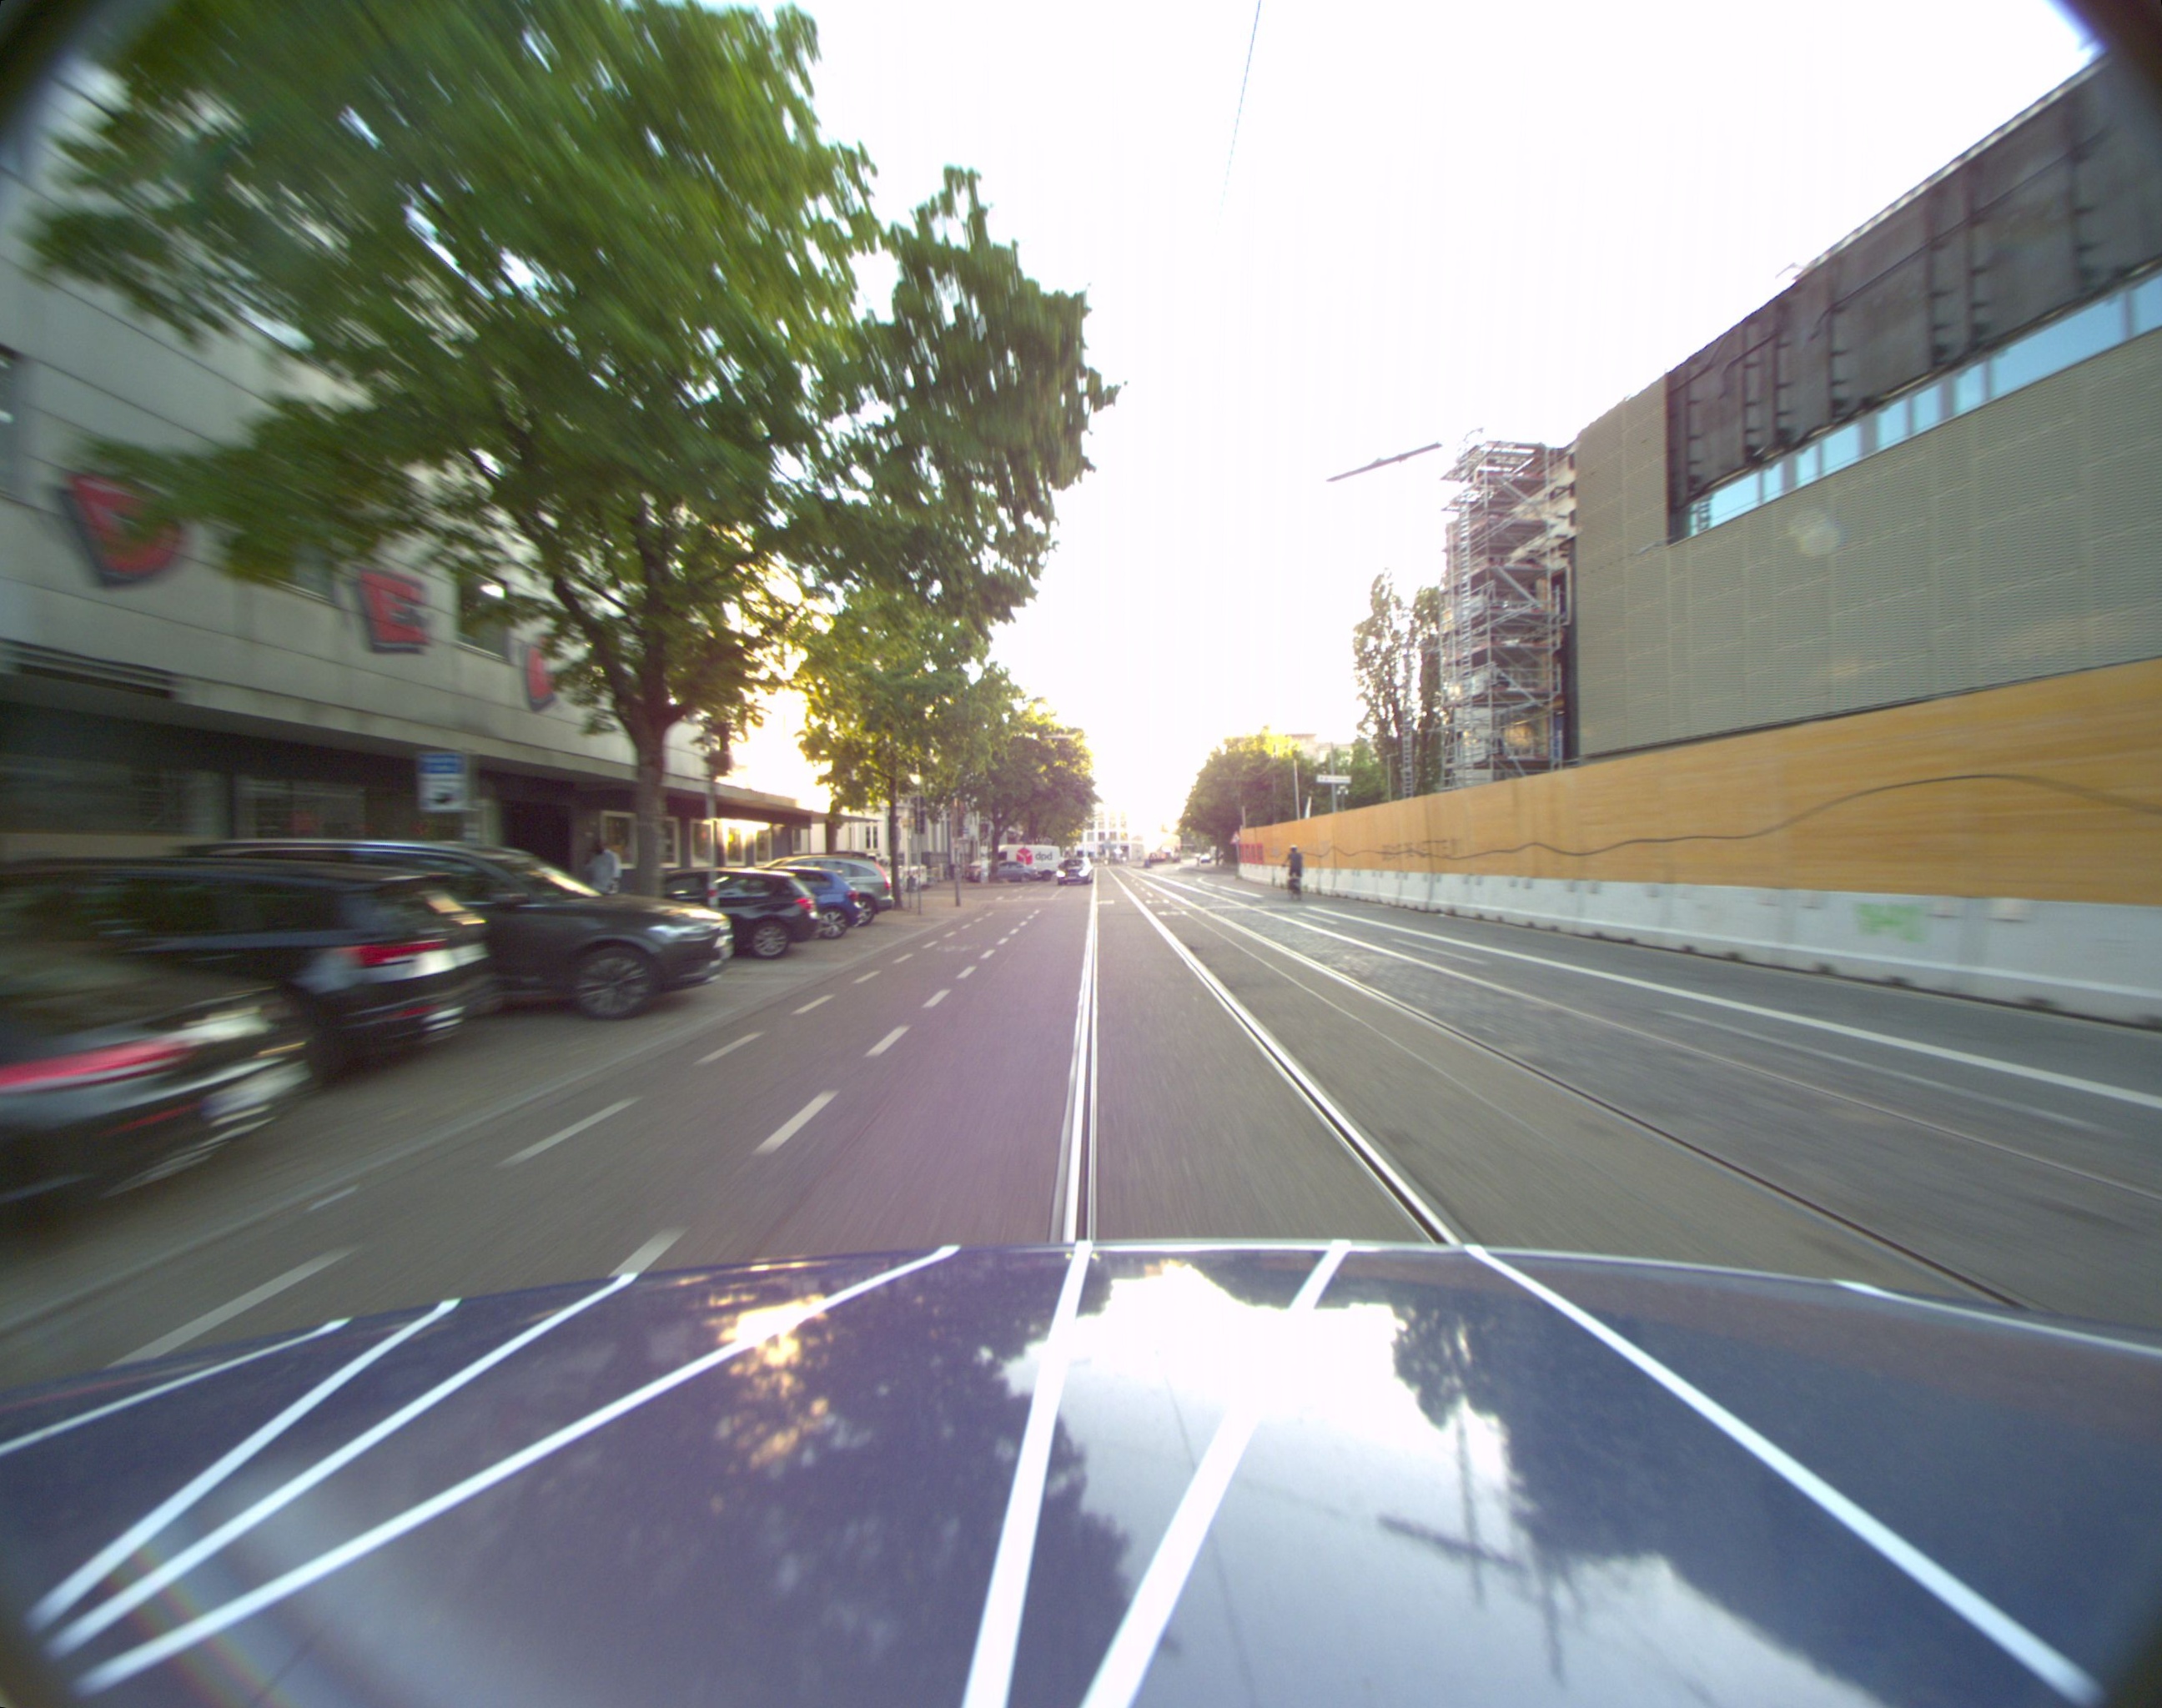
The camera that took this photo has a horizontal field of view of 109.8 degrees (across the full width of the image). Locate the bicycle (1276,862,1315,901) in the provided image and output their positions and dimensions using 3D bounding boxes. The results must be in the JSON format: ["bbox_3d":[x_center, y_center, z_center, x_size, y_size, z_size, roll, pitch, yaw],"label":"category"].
[{"bbox_3d":[7.231,0.897,25.701,0.770,1.221,1.936,-1,0,1],"label":"bicycle"}]

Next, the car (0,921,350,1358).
[{"bbox_3d":[-5.983,1.066,2.857,4.232,1.418,1.971,2,0,-26],"label":"car"}]

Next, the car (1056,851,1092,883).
[{"bbox_3d":[-0.353,0.737,44.941,1.840,1.631,4.169,-5,0,2],"label":"car"}]

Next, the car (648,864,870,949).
[{"bbox_3d":[-6.437,0.992,15.276,3.901,1.493,1.809,1,0,-29],"label":"car"}]

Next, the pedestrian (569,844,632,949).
[{"bbox_3d":[-9.364,0.807,14.818,0.693,1.974,0.786,1,1,1],"label":"pedestrian"}]

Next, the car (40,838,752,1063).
[{"bbox_3d":[-6.277,0.833,7.879,4.984,1.816,2.205,1,0,-17],"label":"car"}]

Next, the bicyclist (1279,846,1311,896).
[{"bbox_3d":[7.230,0.573,25.735,0.770,1.656,1.018,-1,0,1],"label":"bicyclist"}]

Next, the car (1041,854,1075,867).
[{"bbox_3d":[-3.149,0.931,103.261,4.217,1.600,1.740,-2,0,-27],"label":"car"}]

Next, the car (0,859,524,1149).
[{"bbox_3d":[-6.805,0.899,5.323,4.229,1.639,1.973,1,0,-17],"label":"car"}]

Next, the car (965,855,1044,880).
[{"bbox_3d":[-4.880,0.878,48.334,4.614,1.504,1.859,1,-1,-25],"label":"car"}]

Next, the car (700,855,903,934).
[{"bbox_3d":[-6.575,0.911,17.983,4.176,1.654,1.837,1,0,-33],"label":"car"}]

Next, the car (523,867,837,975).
[{"bbox_3d":[-6.300,0.997,12.353,4.174,1.456,1.967,1,0,-26],"label":"car"}]

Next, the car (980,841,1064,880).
[{"bbox_3d":[-4.207,0.434,54.789,5.650,2.678,2.166,-1,0,-33],"label":"car"}]

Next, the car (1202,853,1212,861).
[{"bbox_3d":[26.752,0.575,161.550,1.997,1.674,4.003,-1,0,11],"label":"car"}]
